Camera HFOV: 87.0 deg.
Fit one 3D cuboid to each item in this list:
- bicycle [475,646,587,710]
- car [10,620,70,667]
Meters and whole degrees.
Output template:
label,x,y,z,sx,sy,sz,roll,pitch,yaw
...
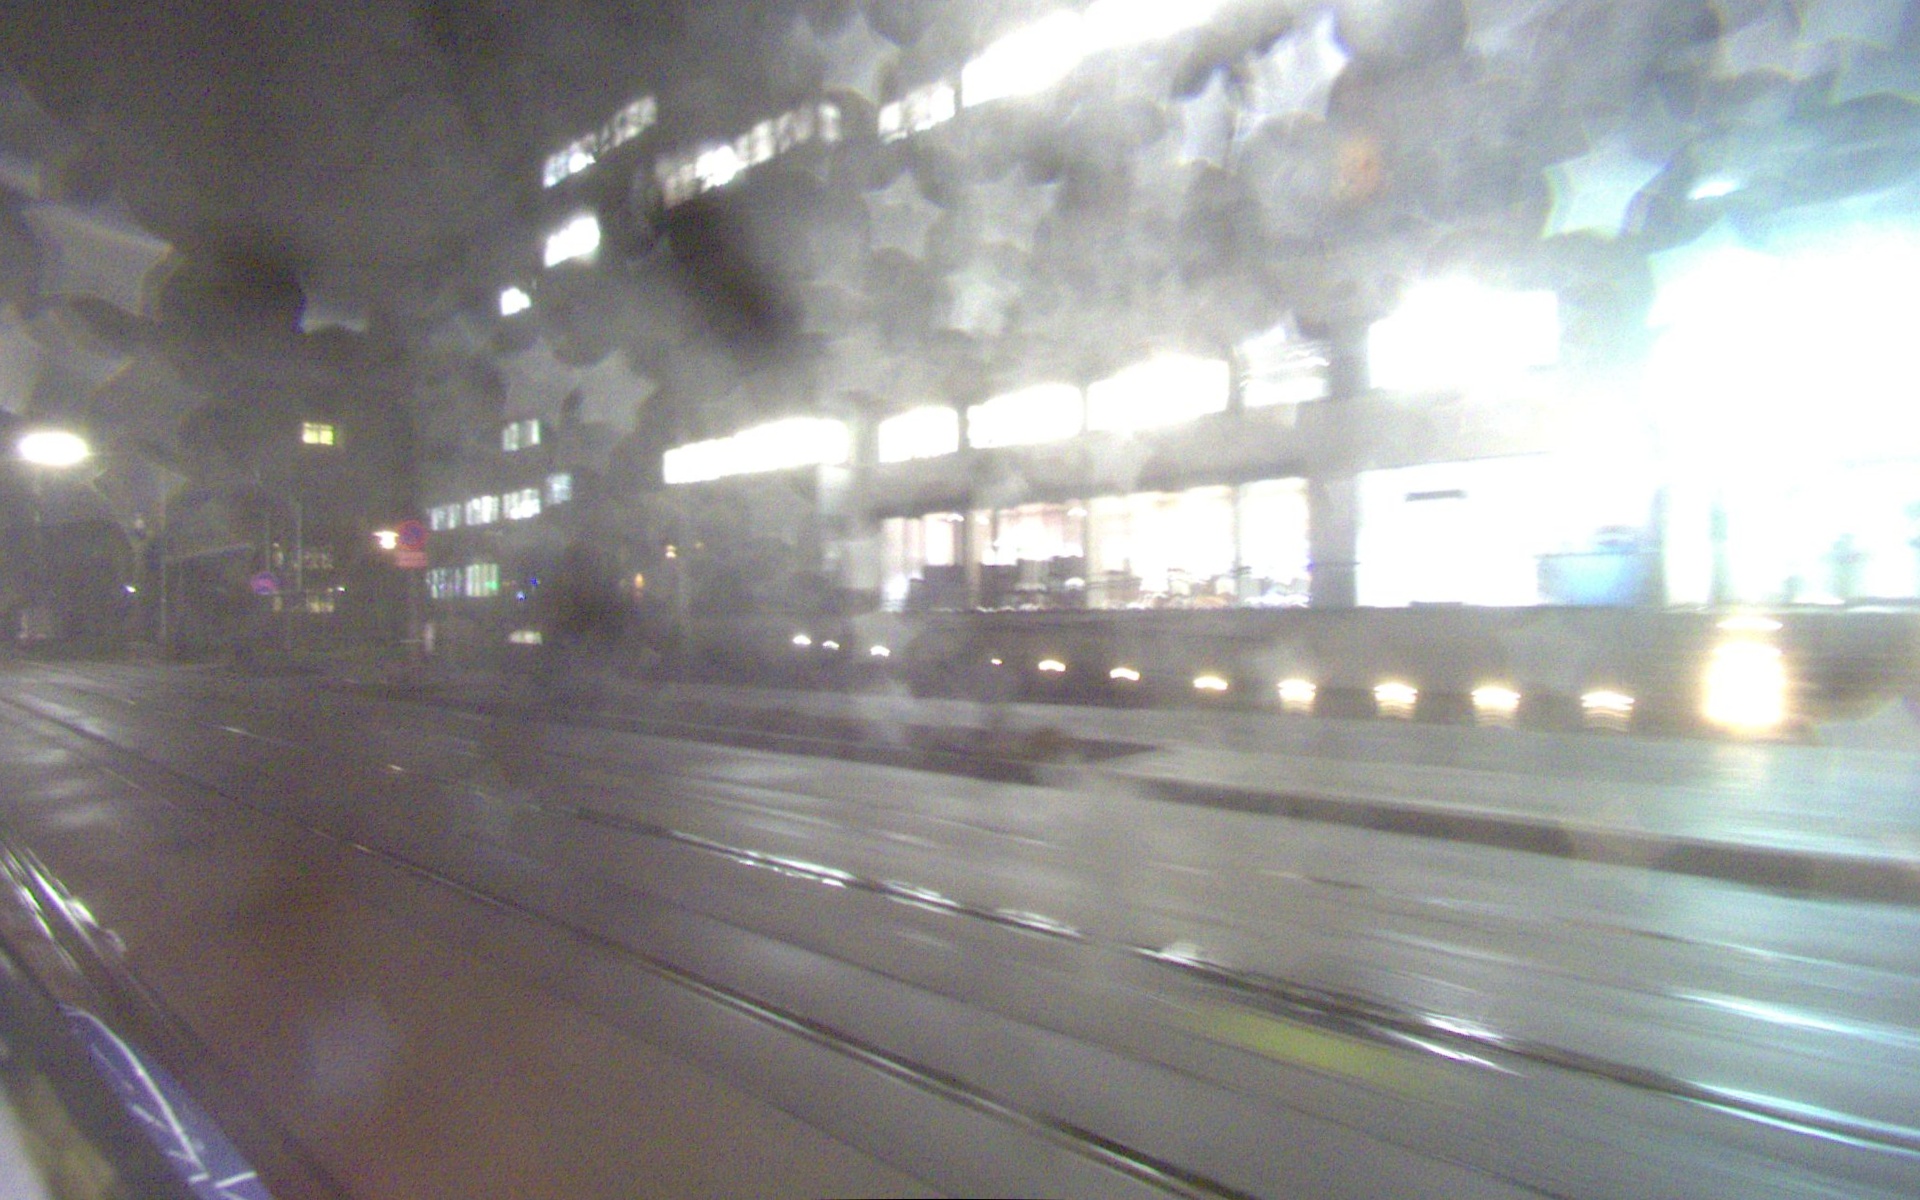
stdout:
label,x,y,z,sx,sy,sz,roll,pitch,yaw
bicycle,-7.980,1.427,18.879,0.627,1.086,1.834,-2,-2,41
car,-54.076,2.538,59.443,6.392,2.611,2.161,-3,-3,44
